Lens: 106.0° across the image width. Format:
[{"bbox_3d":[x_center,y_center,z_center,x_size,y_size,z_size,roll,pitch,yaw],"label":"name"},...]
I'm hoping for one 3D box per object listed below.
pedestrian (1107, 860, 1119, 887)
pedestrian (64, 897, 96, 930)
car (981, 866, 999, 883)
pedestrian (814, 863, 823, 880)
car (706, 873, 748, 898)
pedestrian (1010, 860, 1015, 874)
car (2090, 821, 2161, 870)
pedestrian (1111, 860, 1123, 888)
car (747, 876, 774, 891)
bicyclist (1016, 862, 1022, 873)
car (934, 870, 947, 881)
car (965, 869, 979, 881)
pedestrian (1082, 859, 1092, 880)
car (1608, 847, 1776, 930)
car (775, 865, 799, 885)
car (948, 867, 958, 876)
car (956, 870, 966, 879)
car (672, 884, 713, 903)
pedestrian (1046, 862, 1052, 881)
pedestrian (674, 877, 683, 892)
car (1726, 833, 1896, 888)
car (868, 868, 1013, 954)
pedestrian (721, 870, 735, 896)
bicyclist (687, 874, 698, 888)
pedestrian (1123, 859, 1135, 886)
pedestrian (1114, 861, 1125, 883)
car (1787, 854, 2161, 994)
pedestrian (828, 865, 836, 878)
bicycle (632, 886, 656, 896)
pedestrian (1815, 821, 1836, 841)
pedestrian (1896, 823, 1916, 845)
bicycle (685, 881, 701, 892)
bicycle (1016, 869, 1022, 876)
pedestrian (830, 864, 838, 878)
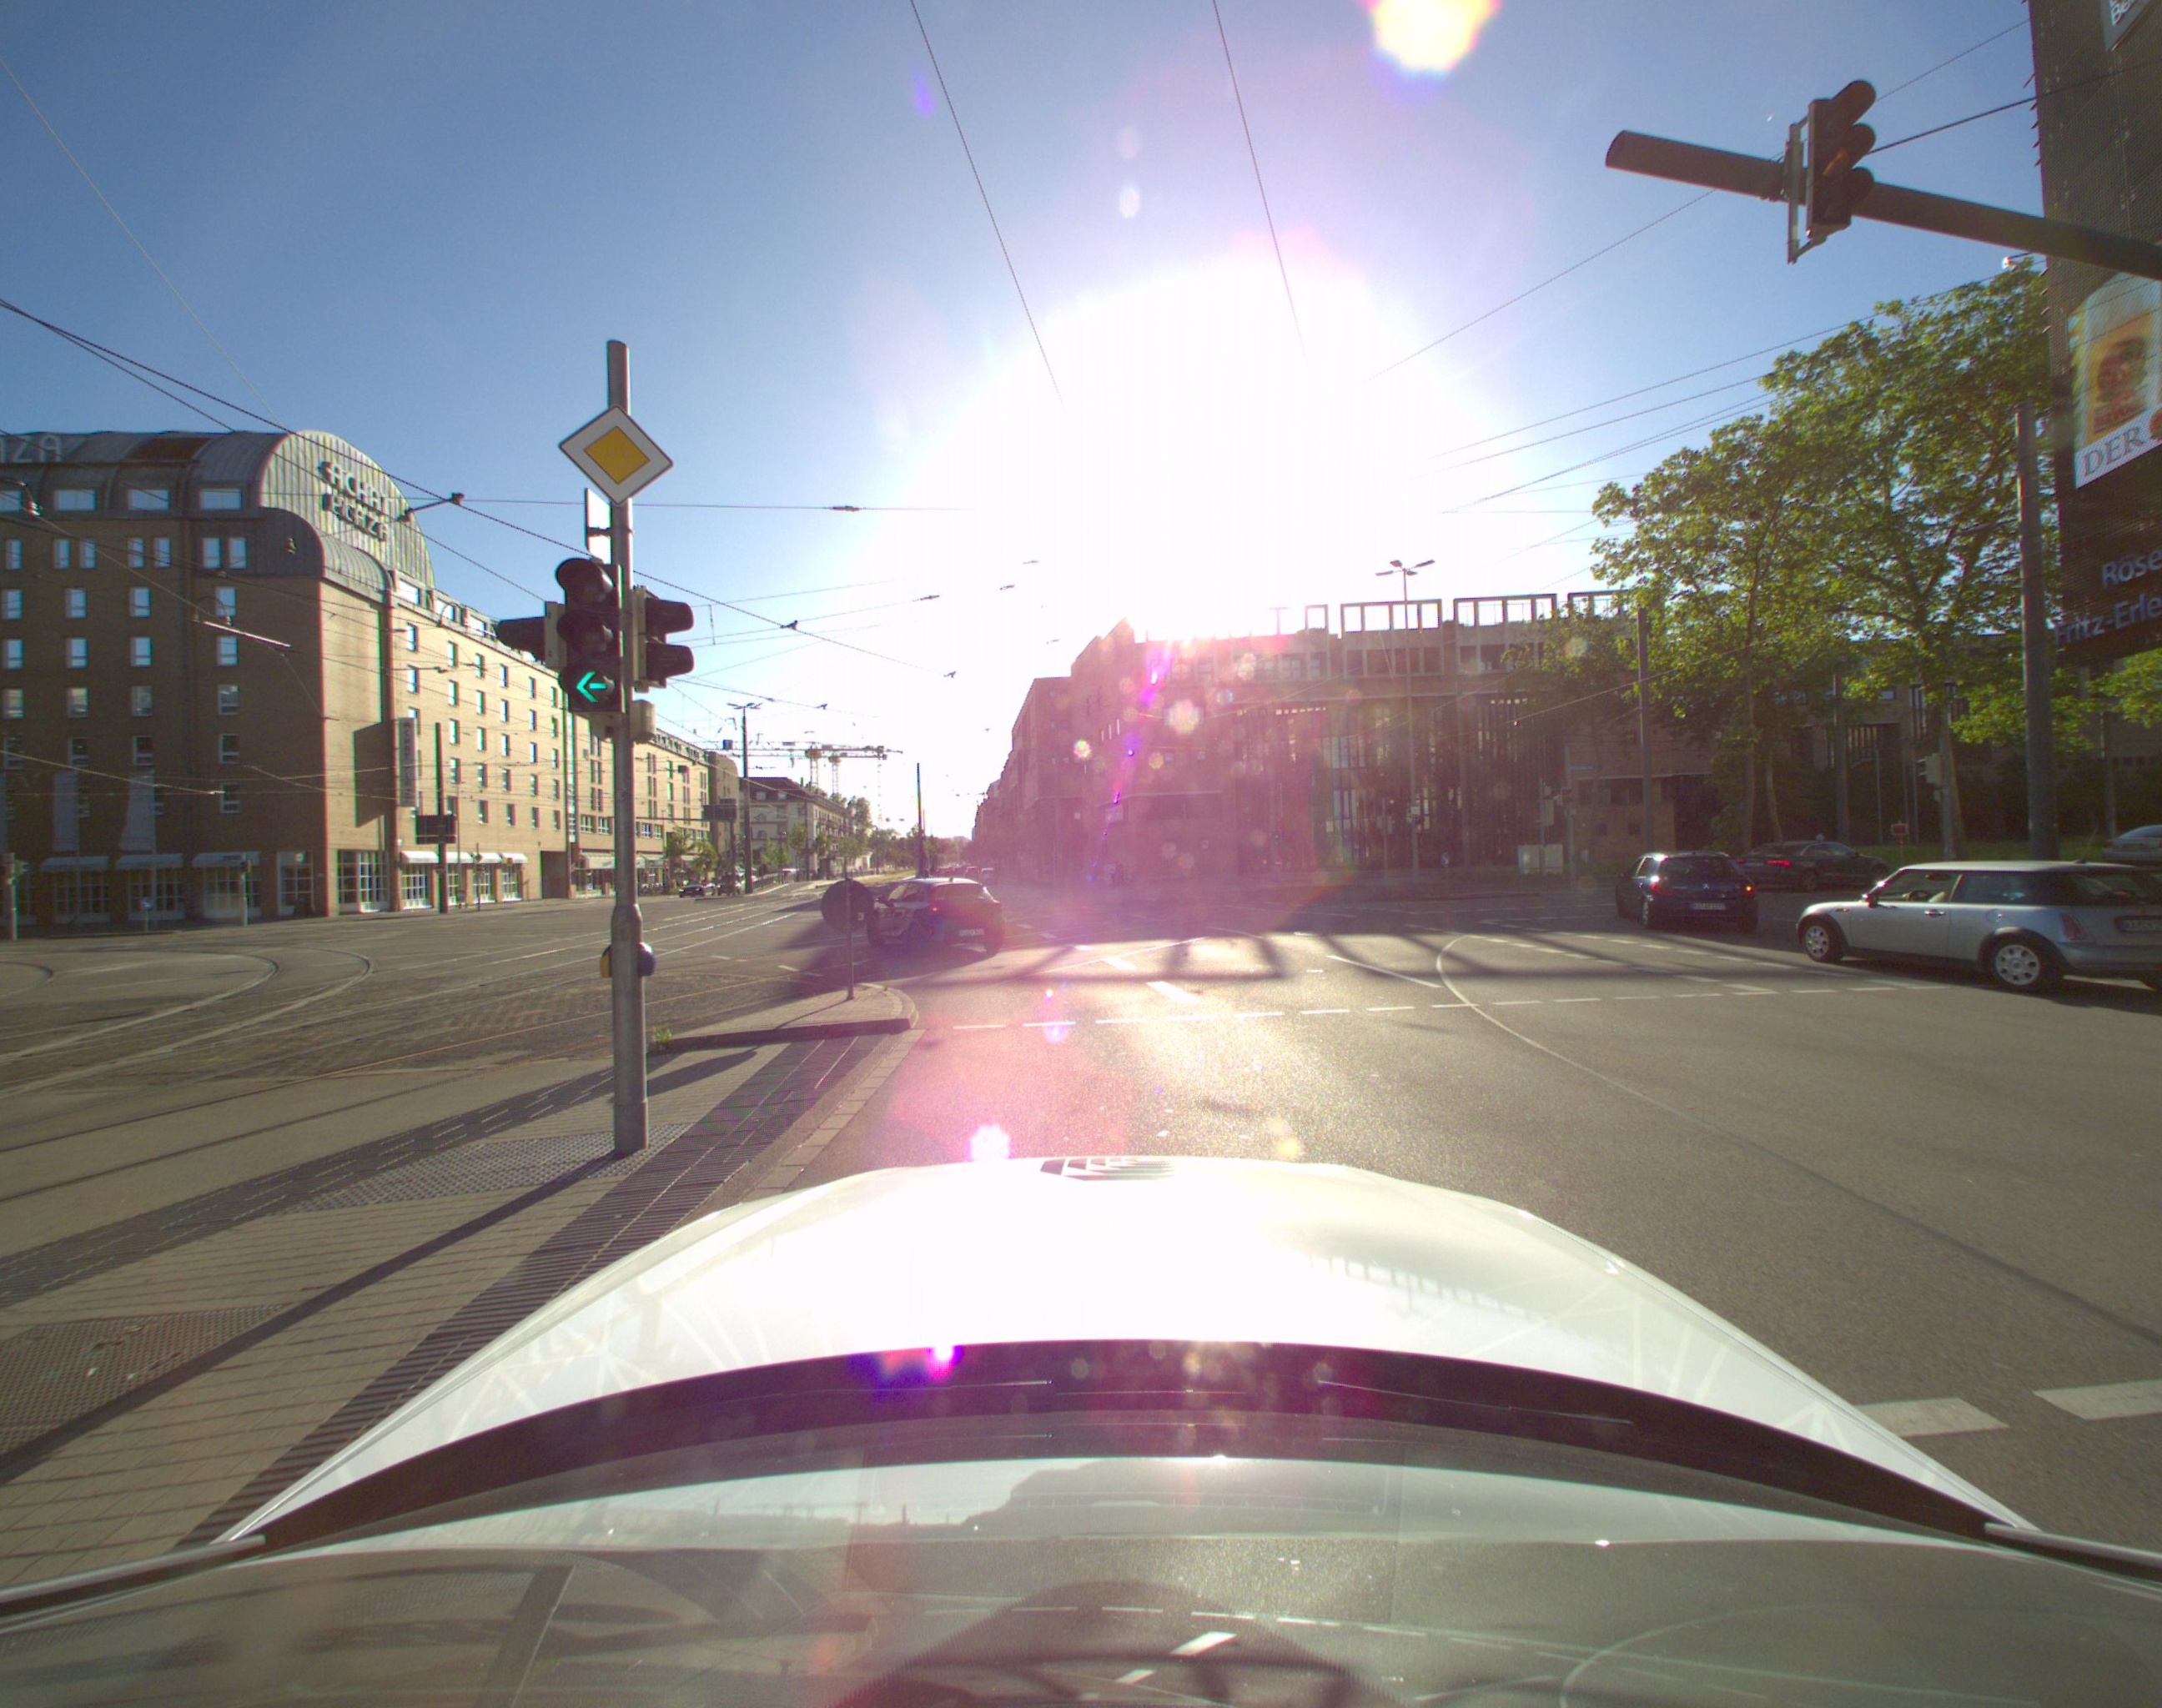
[{"bbox_3d":[2.188,1.341,55.024,0.573,1.786,0.546,-2,-1,-17],"label":"pedestrian"},{"bbox_3d":[-53.631,3.165,43.651,0.750,1.666,0.739,-2,0,-7],"label":"pedestrian"},{"bbox_3d":[-8.425,1.907,75.282,1.558,1.456,3.423,-2,0,-7],"label":"car"},{"bbox_3d":[-30.077,2.023,93.345,0.863,1.886,0.732,-1,0,-19],"label":"pedestrian"},{"bbox_3d":[-28.443,2.497,65.642,1.837,1.836,4.098,-4,0,-6],"label":"car"},{"bbox_3d":[-8.858,1.714,105.333,0.640,1.786,0.686,-3,-1,-8],"label":"pedestrian"},{"bbox_3d":[34.332,-0.309,25.524,3.969,1.475,1.695,-2,-1,-10],"label":"car"},{"bbox_3d":[2.402,1.320,54.277,0.573,1.786,0.546,-2,-1,-17],"label":"pedestrian"},{"bbox_3d":[-34.626,3.142,88.086,1.839,1.448,4.283,-4,0,-10],"label":"car"},{"bbox_3d":[-7.779,1.710,102.070,0.645,1.339,0.651,-2,-1,-8],"label":"bicyclist"},{"bbox_3d":[-20.286,3.039,117.912,1.720,1.453,3.686,-3,0,-9],"label":"car"},{"bbox_3d":[-13.696,2.634,102.058,1.670,1.453,3.686,-3,0,-9],"label":"car"},{"bbox_3d":[0.511,1.313,69.651,0.639,1.786,0.687,-3,-1,-6],"label":"pedestrian"},{"bbox_3d":[12.199,0.621,16.558,1.844,1.475,4.000,-2,0,24],"label":"car"},{"bbox_3d":[-46.707,3.272,129.586,2.379,2.998,8.436,-2,0,-12],"label":"car"},{"bbox_3d":[-23.144,3.188,147.534,1.720,1.453,3.686,-3,0,-9],"label":"car"},{"bbox_3d":[-20.218,3.418,137.116,1.720,1.453,3.686,-3,0,-9],"label":"car"},{"bbox_3d":[-31.419,3.188,65.994,1.840,1.268,4.214,-4,0,-11],"label":"car"},{"bbox_3d":[-3.219,1.754,82.025,0.547,1.786,0.572,-2,2,-6],"label":"pedestrian"},{"bbox_3d":[-47.712,3.576,96.615,0.716,1.764,0.564,-3,-1,-7],"label":"pedestrian"},{"bbox_3d":[20.953,0.187,23.415,4.012,1.440,1.692,-1,-1,-15],"label":"car"},{"bbox_3d":[-2.909,1.036,16.308,1.682,1.502,3.654,1,-1,-31],"label":"car"},{"bbox_3d":[-24.326,1.991,56.090,0.720,1.727,0.593,-2,-1,-8],"label":"pedestrian"},{"bbox_3d":[-39.890,2.724,83.645,0.810,1.377,0.922,-2,0,-10],"label":"bicyclist"},{"bbox_3d":[3.287,1.282,55.658,0.573,1.786,0.546,-2,-1,-17],"label":"pedestrian"},{"bbox_3d":[2.680,1.256,56.554,0.550,1.477,0.568,-2,0,-27],"label":"pedestrian"},{"bbox_3d":[10.812,0.711,9.826,1.653,1.389,3.540,-1,-1,4],"label":"car"},{"bbox_3d":[-31.252,2.181,102.256,0.863,1.670,0.779,-1,0,-19],"label":"pedestrian"},{"bbox_3d":[-43.314,3.657,80.745,2.026,0.921,0.483,-3,0,1],"label":"bicycle"},{"bbox_3d":[54.245,-1.672,59.340,0.684,1.384,0.810,-2,0,-7],"label":"pedestrian"},{"bbox_3d":[62.309,-1.536,61.482,0.688,1.606,0.806,-2,0,-21],"label":"pedestrian"},{"bbox_3d":[-39.873,3.334,83.674,0.810,0.991,2.500,-2,0,-10],"label":"bicycle"},{"bbox_3d":[-7.757,2.320,102.080,0.648,0.904,2.339,-1,0,-7],"label":"bicycle"},{"bbox_3d":[-30.851,2.156,101.669,0.863,1.670,0.732,-1,0,-19],"label":"pedestrian"}]
